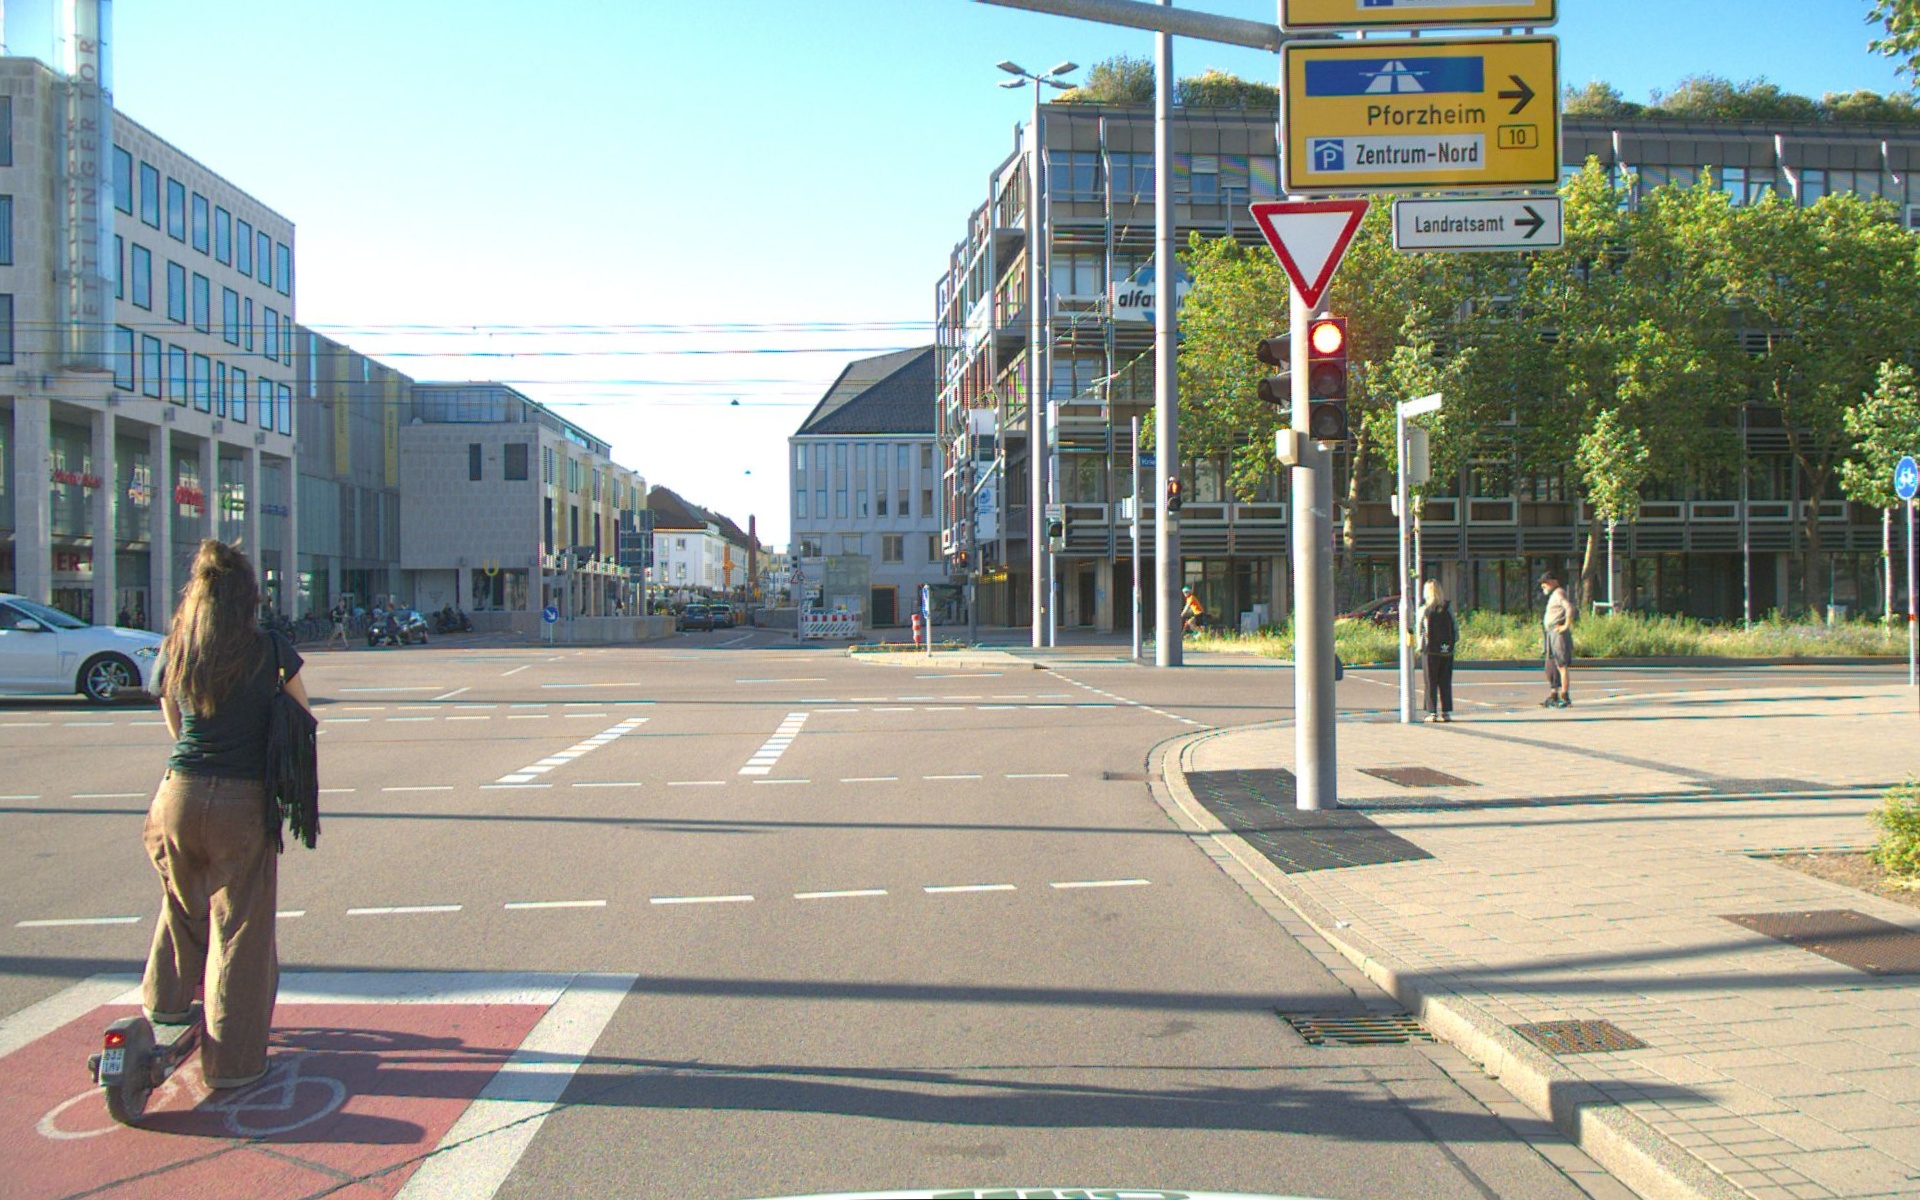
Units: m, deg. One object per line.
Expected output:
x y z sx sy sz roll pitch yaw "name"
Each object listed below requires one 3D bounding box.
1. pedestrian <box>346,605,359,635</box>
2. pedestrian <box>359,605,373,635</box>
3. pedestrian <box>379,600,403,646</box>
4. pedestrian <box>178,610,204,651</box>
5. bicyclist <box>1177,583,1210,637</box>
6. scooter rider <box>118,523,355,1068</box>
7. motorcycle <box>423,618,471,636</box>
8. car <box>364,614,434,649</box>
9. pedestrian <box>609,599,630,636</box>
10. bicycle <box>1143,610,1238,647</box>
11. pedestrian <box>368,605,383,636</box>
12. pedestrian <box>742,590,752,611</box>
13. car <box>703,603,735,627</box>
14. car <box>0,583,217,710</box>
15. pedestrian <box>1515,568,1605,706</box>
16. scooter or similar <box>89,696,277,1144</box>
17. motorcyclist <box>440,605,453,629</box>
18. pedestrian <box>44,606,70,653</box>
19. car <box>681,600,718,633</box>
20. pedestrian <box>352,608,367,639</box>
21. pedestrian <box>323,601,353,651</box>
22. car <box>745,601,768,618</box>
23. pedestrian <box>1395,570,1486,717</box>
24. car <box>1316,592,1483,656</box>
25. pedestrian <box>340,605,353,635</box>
-35.909 1.155 97.796 0.462 1.759 0.518 0 -1 38 "pedestrian"
-35.153 1.168 97.903 0.461 1.759 0.627 1 -1 28 "pedestrian"
-21.594 0.880 62.779 0.685 1.718 0.619 -1 0 0 "pedestrian"
-31.283 1.242 67.281 0.760 1.667 0.626 -1 0 20 "pedestrian"
6.672 0.281 47.218 0.806 1.500 0.652 -1 0 -5 "bicyclist"
-2.165 0.555 4.992 0.542 1.556 0.448 -1 0 -9 "scooter rider"
-30.296 1.566 97.728 2.555 1.010 1.113 1 0 -10 "motorcycle"
-23.522 1.301 69.472 1.642 1.381 4.019 -1 0 -2 "car"
-16.792 0.845 81.525 0.881 1.814 0.808 -1 0 -1 "pedestrian"
6.563 0.799 47.200 2.517 0.992 1.047 -1 0 -4 "bicycle"
-33.842 1.182 95.779 0.462 1.759 0.692 0 -1 37 "pedestrian"
-21.148 0.066 164.358 0.892 1.999 0.822 1 -1 -1 "pedestrian"
-15.697 0.974 107.819 1.625 1.484 3.541 -1 0 -1 "car"
-12.731 0.597 21.895 4.999 1.592 1.992 -1 0 -15 "car"
7.695 0.467 21.243 0.854 1.736 0.768 -1 0 -3 "pedestrian"
-2.236 0.871 4.812 0.301 1.127 0.836 -1 0 -12 "scooter or similar"
-30.377 0.995 97.853 0.616 1.430 0.661 1 -1 -9 "motorcyclist"
-32.766 1.067 60.030 0.580 1.674 0.629 -1 0 -1 "pedestrian"
-14.035 0.871 89.347 1.784 1.713 3.994 -1 0 -6 "car"
-34.500 1.329 95.026 0.462 1.759 0.626 1 -1 33 "pedestrian"
-24.095 1.009 64.094 0.923 1.897 0.539 -1 0 16 "pedestrian"
-17.891 0.830 145.542 1.625 1.484 3.541 -1 0 -1 "car"
5.501 0.486 18.973 0.750 1.642 0.874 -1 0 -2 "pedestrian"
12.359 0.650 46.594 4.212 1.713 1.820 -1 0 -11 "car"
-35.784 1.152 96.460 0.462 1.759 0.518 0 -1 38 "pedestrian"
